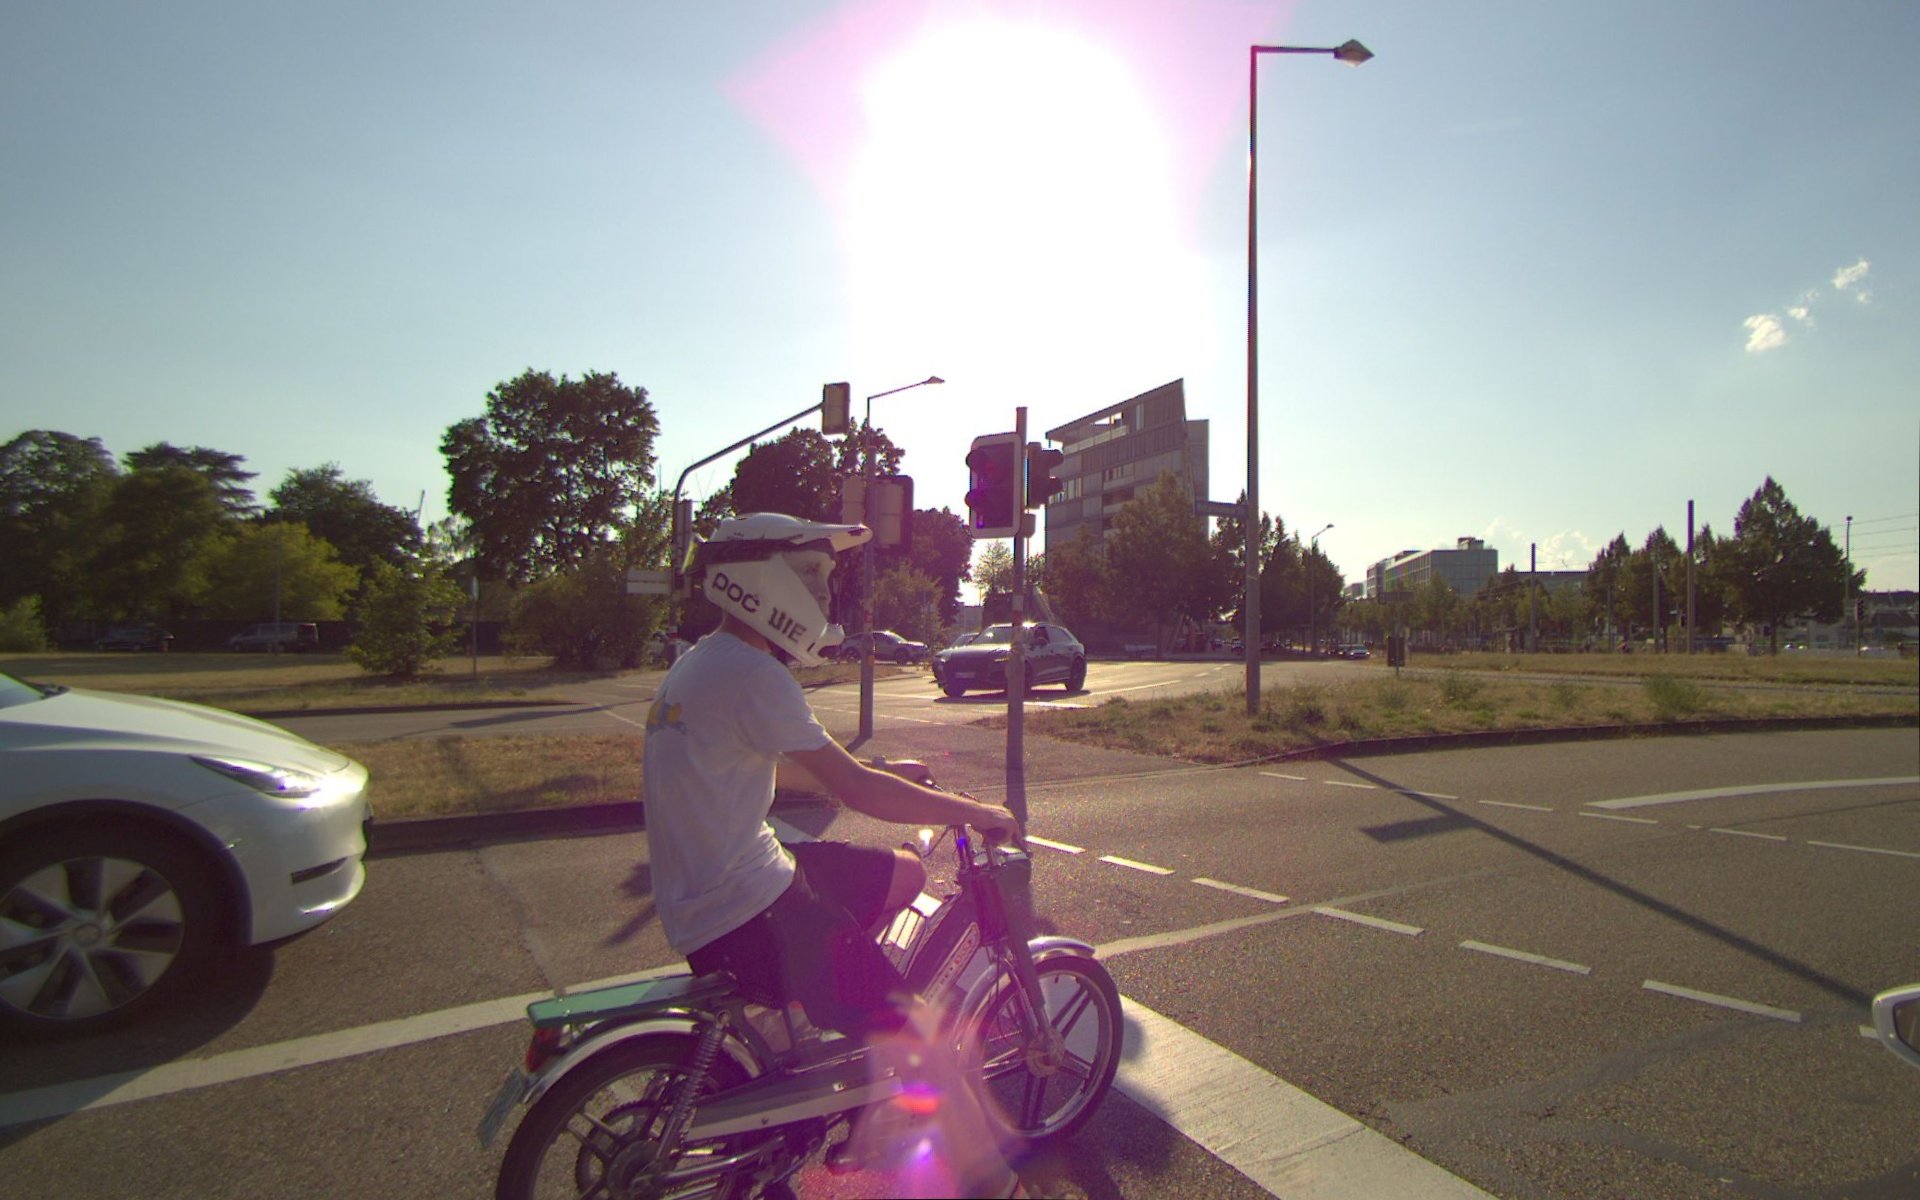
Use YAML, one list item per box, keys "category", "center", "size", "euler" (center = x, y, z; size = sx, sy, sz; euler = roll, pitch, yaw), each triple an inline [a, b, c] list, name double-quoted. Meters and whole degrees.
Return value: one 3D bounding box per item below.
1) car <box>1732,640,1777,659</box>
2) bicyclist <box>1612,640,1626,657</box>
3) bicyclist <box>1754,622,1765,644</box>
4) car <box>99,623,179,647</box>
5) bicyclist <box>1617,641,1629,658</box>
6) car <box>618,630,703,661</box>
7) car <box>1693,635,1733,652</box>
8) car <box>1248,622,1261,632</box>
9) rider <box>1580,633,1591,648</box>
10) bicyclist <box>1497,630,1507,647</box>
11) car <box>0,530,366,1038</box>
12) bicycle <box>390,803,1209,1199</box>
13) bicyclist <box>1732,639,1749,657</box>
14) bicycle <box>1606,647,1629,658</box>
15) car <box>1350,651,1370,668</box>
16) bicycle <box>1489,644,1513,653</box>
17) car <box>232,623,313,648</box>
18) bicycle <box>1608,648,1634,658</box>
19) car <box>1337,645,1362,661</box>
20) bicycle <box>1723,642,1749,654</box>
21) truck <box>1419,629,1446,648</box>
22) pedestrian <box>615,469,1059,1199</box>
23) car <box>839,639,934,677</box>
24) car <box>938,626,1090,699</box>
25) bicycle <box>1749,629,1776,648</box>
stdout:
- category: "car"
  center: [87.623, 5.451, 110.876]
  size: [1.960, 2.040, 4.002]
  euler: [0, -2, 5]
- category: "bicyclist"
  center: [54.308, 3.956, 82.768]
  size: [0.941, 1.375, 0.692]
  euler: [-1, -2, 33]
- category: "bicyclist"
  center: [62.312, 2.568, 78.263]
  size: [0.598, 1.694, 0.477]
  euler: [0, -2, 30]
- category: "car"
  center: [-52.702, 2.242, 64.513]
  size: [4.312, 1.545, 1.657]
  euler: [0, -2, 13]
- category: "bicyclist"
  center: [53.358, 3.988, 80.849]
  size: [0.641, 1.343, 0.519]
  euler: [0, -1, 14]
- category: "car"
  center: [-15.330, 2.312, 51.434]
  size: [3.864, 1.545, 1.658]
  euler: [0, -2, 12]
- category: "car"
  center: [89.214, 5.120, 119.083]
  size: [1.960, 2.040, 4.002]
  euler: [0, -2, 5]
- category: "car"
  center: [46.997, 4.302, 160.170]
  size: [1.753, 1.576, 4.002]
  euler: [2, 0, 14]
- category: "rider"
  center: [54.190, 3.501, 87.043]
  size: [0.641, 1.343, 0.688]
  euler: [0, -1, 14]
- category: "bicyclist"
  center: [45.291, 3.215, 83.934]
  size: [0.641, 1.343, 0.519]
  euler: [0, -1, 14]
- category: "car"
  center: [-4.622, 0.556, 3.159]
  size: [4.630, 1.620, 1.724]
  euler: [2, -1, -35]
- category: "bicycle"
  center: [-0.264, 1.029, 2.329]
  size: [1.834, 0.887, 0.475]
  euler: [1, -2, -31]
- category: "bicyclist"
  center: [60.603, 3.700, 77.986]
  size: [0.941, 1.375, 0.691]
  euler: [-1, -2, 34]
- category: "bicycle"
  center: [54.220, 4.290, 82.816]
  size: [1.592, 0.871, 0.543]
  euler: [-1, -2, 35]
- category: "car"
  center: [36.599, 5.429, 91.957]
  size: [1.455, 1.495, 3.301]
  euler: [0, -2, 17]
- category: "bicycle"
  center: [45.234, 4.035, 83.961]
  size: [1.687, 0.754, 0.481]
  euler: [0, -2, 14]
- category: "car"
  center: [-42.823, 2.213, 62.616]
  size: [4.312, 1.545, 1.657]
  euler: [0, -2, 13]
- category: "bicycle"
  center: [53.202, 4.255, 80.886]
  size: [1.687, 0.754, 0.481]
  euler: [0, -2, 14]
- category: "car"
  center: [38.339, 5.180, 99.002]
  size: [1.960, 1.495, 4.002]
  euler: [0, -2, 17]
- category: "bicycle"
  center: [60.352, 3.712, 78.109]
  size: [1.592, 0.871, 0.543]
  euler: [-1, -2, 35]
- category: "truck"
  center: [84.068, 6.780, 178.847]
  size: [3.074, 3.273, 7.178]
  euler: [0, -2, 14]
- category: "pedestrian"
  center: [-0.299, 0.542, 2.355]
  size: [0.844, 1.539, 0.653]
  euler: [1, -2, -30]
- category: "car"
  center: [-3.496, 2.730, 47.812]
  size: [4.117, 1.695, 1.776]
  euler: [0, -2, 20]
- category: "car"
  center: [1.389, 1.410, 23.568]
  size: [1.624, 1.532, 4.635]
  euler: [-2, -3, 30]
- category: "bicycle"
  center: [62.446, 2.993, 78.157]
  size: [1.516, 1.493, 0.479]
  euler: [-1, -2, 29]
